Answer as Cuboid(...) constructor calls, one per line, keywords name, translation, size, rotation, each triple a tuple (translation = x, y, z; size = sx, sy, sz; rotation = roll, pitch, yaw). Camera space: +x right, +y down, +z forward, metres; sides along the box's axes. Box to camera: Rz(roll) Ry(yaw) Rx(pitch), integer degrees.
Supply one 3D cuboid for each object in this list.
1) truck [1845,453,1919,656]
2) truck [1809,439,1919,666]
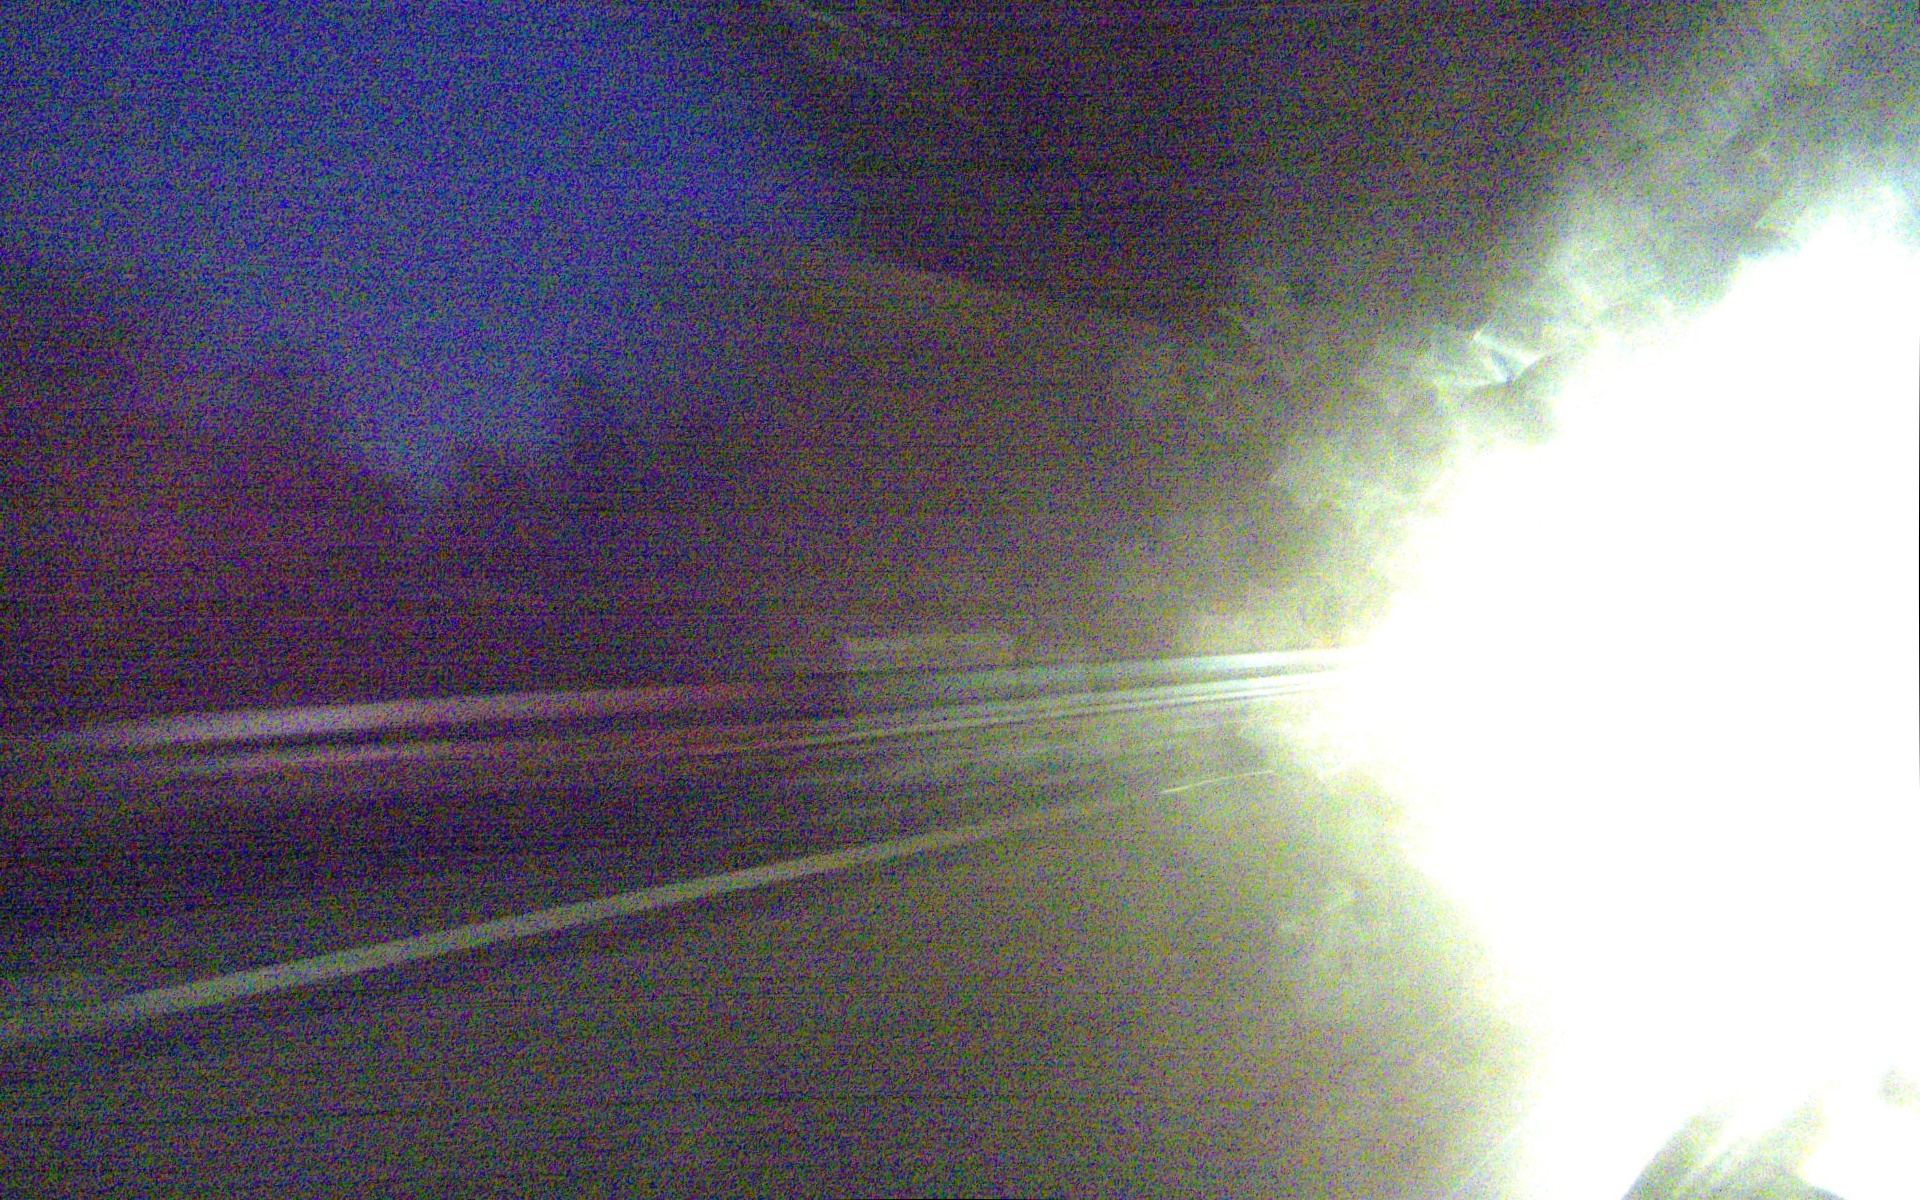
Cuboid(name="truck", translation=(25.591, -1.085, 25.629), size=(13.397, 4.301, 2.502), rotation=(-1, 0, -39))
Cuboid(name="truck", translation=(20.231, -0.944, 21.308), size=(5.875, 4.301, 2.503), rotation=(-1, 0, -39))
